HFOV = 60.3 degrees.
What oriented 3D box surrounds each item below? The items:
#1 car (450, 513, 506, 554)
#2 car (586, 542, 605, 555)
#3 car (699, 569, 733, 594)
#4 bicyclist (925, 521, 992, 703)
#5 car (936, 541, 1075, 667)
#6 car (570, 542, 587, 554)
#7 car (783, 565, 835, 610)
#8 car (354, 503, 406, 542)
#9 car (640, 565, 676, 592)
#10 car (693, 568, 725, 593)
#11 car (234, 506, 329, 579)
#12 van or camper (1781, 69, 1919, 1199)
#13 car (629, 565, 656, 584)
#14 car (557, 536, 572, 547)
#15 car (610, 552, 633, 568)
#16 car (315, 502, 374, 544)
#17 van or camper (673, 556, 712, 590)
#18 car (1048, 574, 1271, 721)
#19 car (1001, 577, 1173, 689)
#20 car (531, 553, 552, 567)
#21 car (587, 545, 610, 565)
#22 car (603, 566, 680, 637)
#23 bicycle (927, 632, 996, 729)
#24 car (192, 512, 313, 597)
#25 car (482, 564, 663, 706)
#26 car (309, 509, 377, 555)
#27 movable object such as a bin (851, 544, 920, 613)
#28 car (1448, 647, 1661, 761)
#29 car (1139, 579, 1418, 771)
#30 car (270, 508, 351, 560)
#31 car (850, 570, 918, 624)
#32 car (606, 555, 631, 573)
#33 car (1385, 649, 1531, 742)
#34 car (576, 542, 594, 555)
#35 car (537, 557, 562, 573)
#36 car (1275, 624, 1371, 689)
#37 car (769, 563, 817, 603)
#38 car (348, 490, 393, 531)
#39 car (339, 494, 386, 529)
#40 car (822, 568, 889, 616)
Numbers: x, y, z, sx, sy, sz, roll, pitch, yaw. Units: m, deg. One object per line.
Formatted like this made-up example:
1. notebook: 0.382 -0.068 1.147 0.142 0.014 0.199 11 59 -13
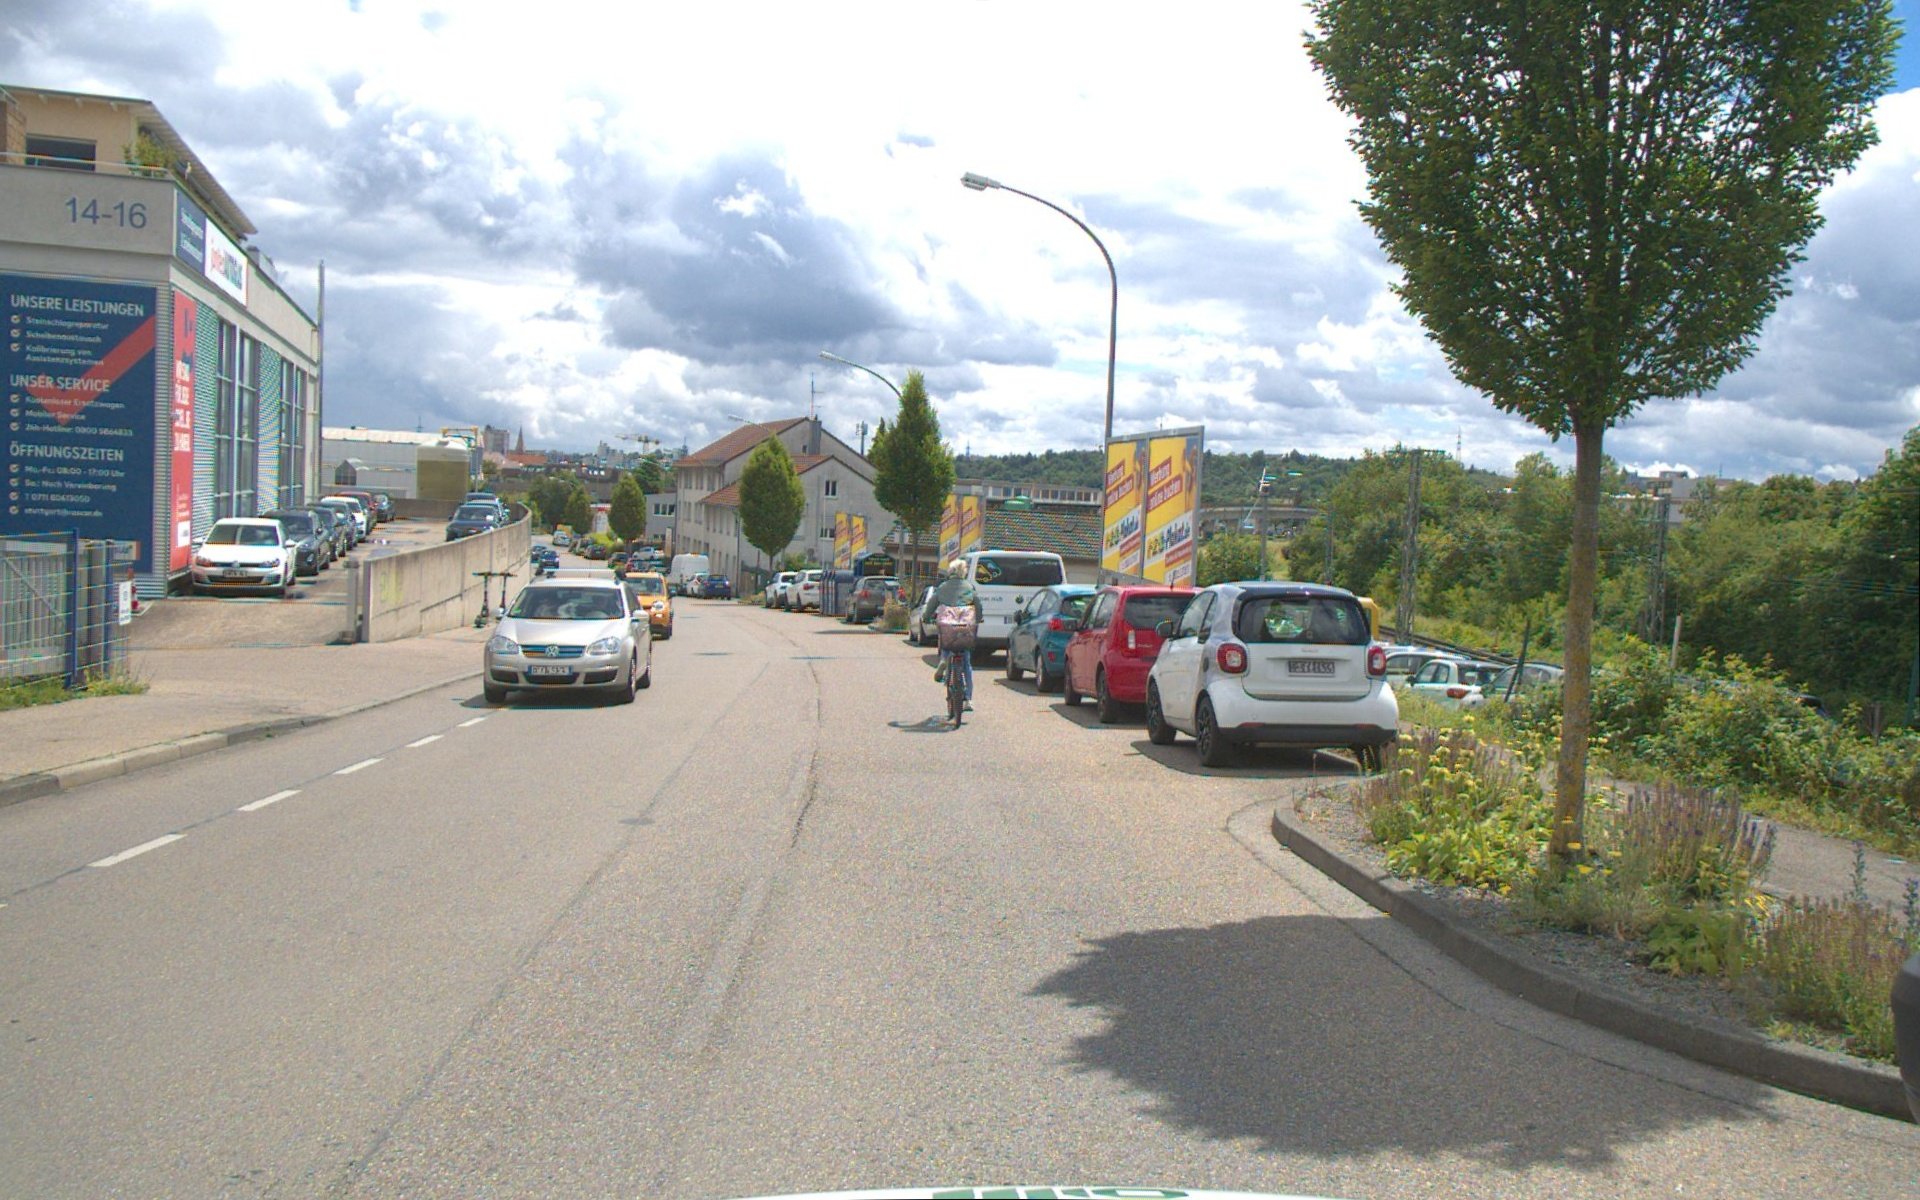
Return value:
1. car: -16.735 -2.307 57.502 1.641 1.346 3.706 1 2 -13
2. car: -41.153 -5.775 186.572 1.960 1.445 3.984 0 1 -15
3. car: -14.551 -1.103 98.412 1.957 1.489 3.991 0 1 -10
4. bicyclist: -0.025 0.117 17.401 0.671 1.857 1.080 0 1 -2
5. car: 0.734 0.025 30.437 1.955 2.048 4.913 2 1 -5
6. car: -47.957 -6.516 207.670 1.960 1.445 3.984 0 1 -15
7. car: -6.115 -0.527 66.815 1.780 1.735 3.991 0 1 -10
8. car: -22.236 -2.953 63.525 1.643 1.346 3.703 0 1 -16
9. car: -18.582 -1.330 101.619 1.959 1.646 3.986 0 1 -13
10. car: -15.590 -1.229 102.674 1.957 1.489 3.991 0 1 -10
11. car: -16.237 -1.342 39.709 1.668 1.658 3.703 0 1 -16
12. van or camper: 3.166 0.241 1.090 2.082 2.630 5.915 2 1 -2
13. car: -25.837 -2.063 134.650 1.960 1.489 3.986 0 1 -14
14. car: -57.077 -8.450 238.590 1.960 1.445 3.984 0 1 -15
15. car: -32.061 -3.760 156.536 1.960 1.445 3.984 0 1 -15
16. car: -21.599 -2.678 58.145 1.643 1.346 3.703 0 1 -16
17. van or camper: -17.390 -1.783 107.369 1.961 2.048 3.984 4 1 -15
18. car: 2.206 0.467 19.373 1.839 1.534 3.996 0 1 -5
19. car: 1.739 0.412 23.809 1.866 1.467 3.539 0 1 -6
20. car: -41.480 -3.951 163.898 1.960 1.445 3.984 0 1 -15
21. car: -39.842 -4.963 182.074 1.963 2.048 3.980 4 1 -18
22. car: -7.591 0.004 39.721 1.677 1.601 3.992 0 1 -9
23. bicycle: -0.008 0.817 17.448 0.674 0.893 2.101 0 1 -2
24. car: -14.833 -0.941 34.871 1.817 1.679 3.983 0 1 -16
25. car: -4.756 0.359 20.814 1.670 1.589 4.322 1 1 -6
26. car: -19.257 -2.100 51.733 1.643 1.346 3.703 0 1 -16
27. movable object such as a bin: -2.601 -0.746 57.611 2.096 2.343 2.552 0 1 -10
28. car: 9.718 1.651 27.435 1.757 1.532 4.439 0 1 -3
29. car: 2.744 0.589 14.855 1.758 1.532 2.903 0 1 -5
30. car: -17.940 -1.785 45.800 1.692 1.346 3.703 0 1 -16
31. car: -2.478 -0.128 52.928 1.955 1.646 3.995 0 1 -6
32. car: -29.040 -3.052 140.736 1.960 1.489 3.986 0 1 -14
33. car: 9.478 1.782 31.738 1.588 1.532 3.577 0 1 -3
34. car: -44.431 -6.121 195.750 1.960 1.445 3.984 0 1 -15
35. car: -37.078 -3.180 149.415 1.958 1.445 3.989 0 1 -12
36. car: 9.528 1.456 43.651 1.588 1.532 3.577 0 1 -3
37. car: -7.362 -0.760 72.677 1.809 1.735 3.991 0 1 -10
38. car: -28.358 -4.266 79.637 1.675 1.759 3.502 4 1 -16
39. car: -25.883 -3.822 71.721 1.643 1.346 3.703 0 1 -16
40. car: -3.930 -0.322 61.724 2.095 1.735 3.991 0 1 -10
